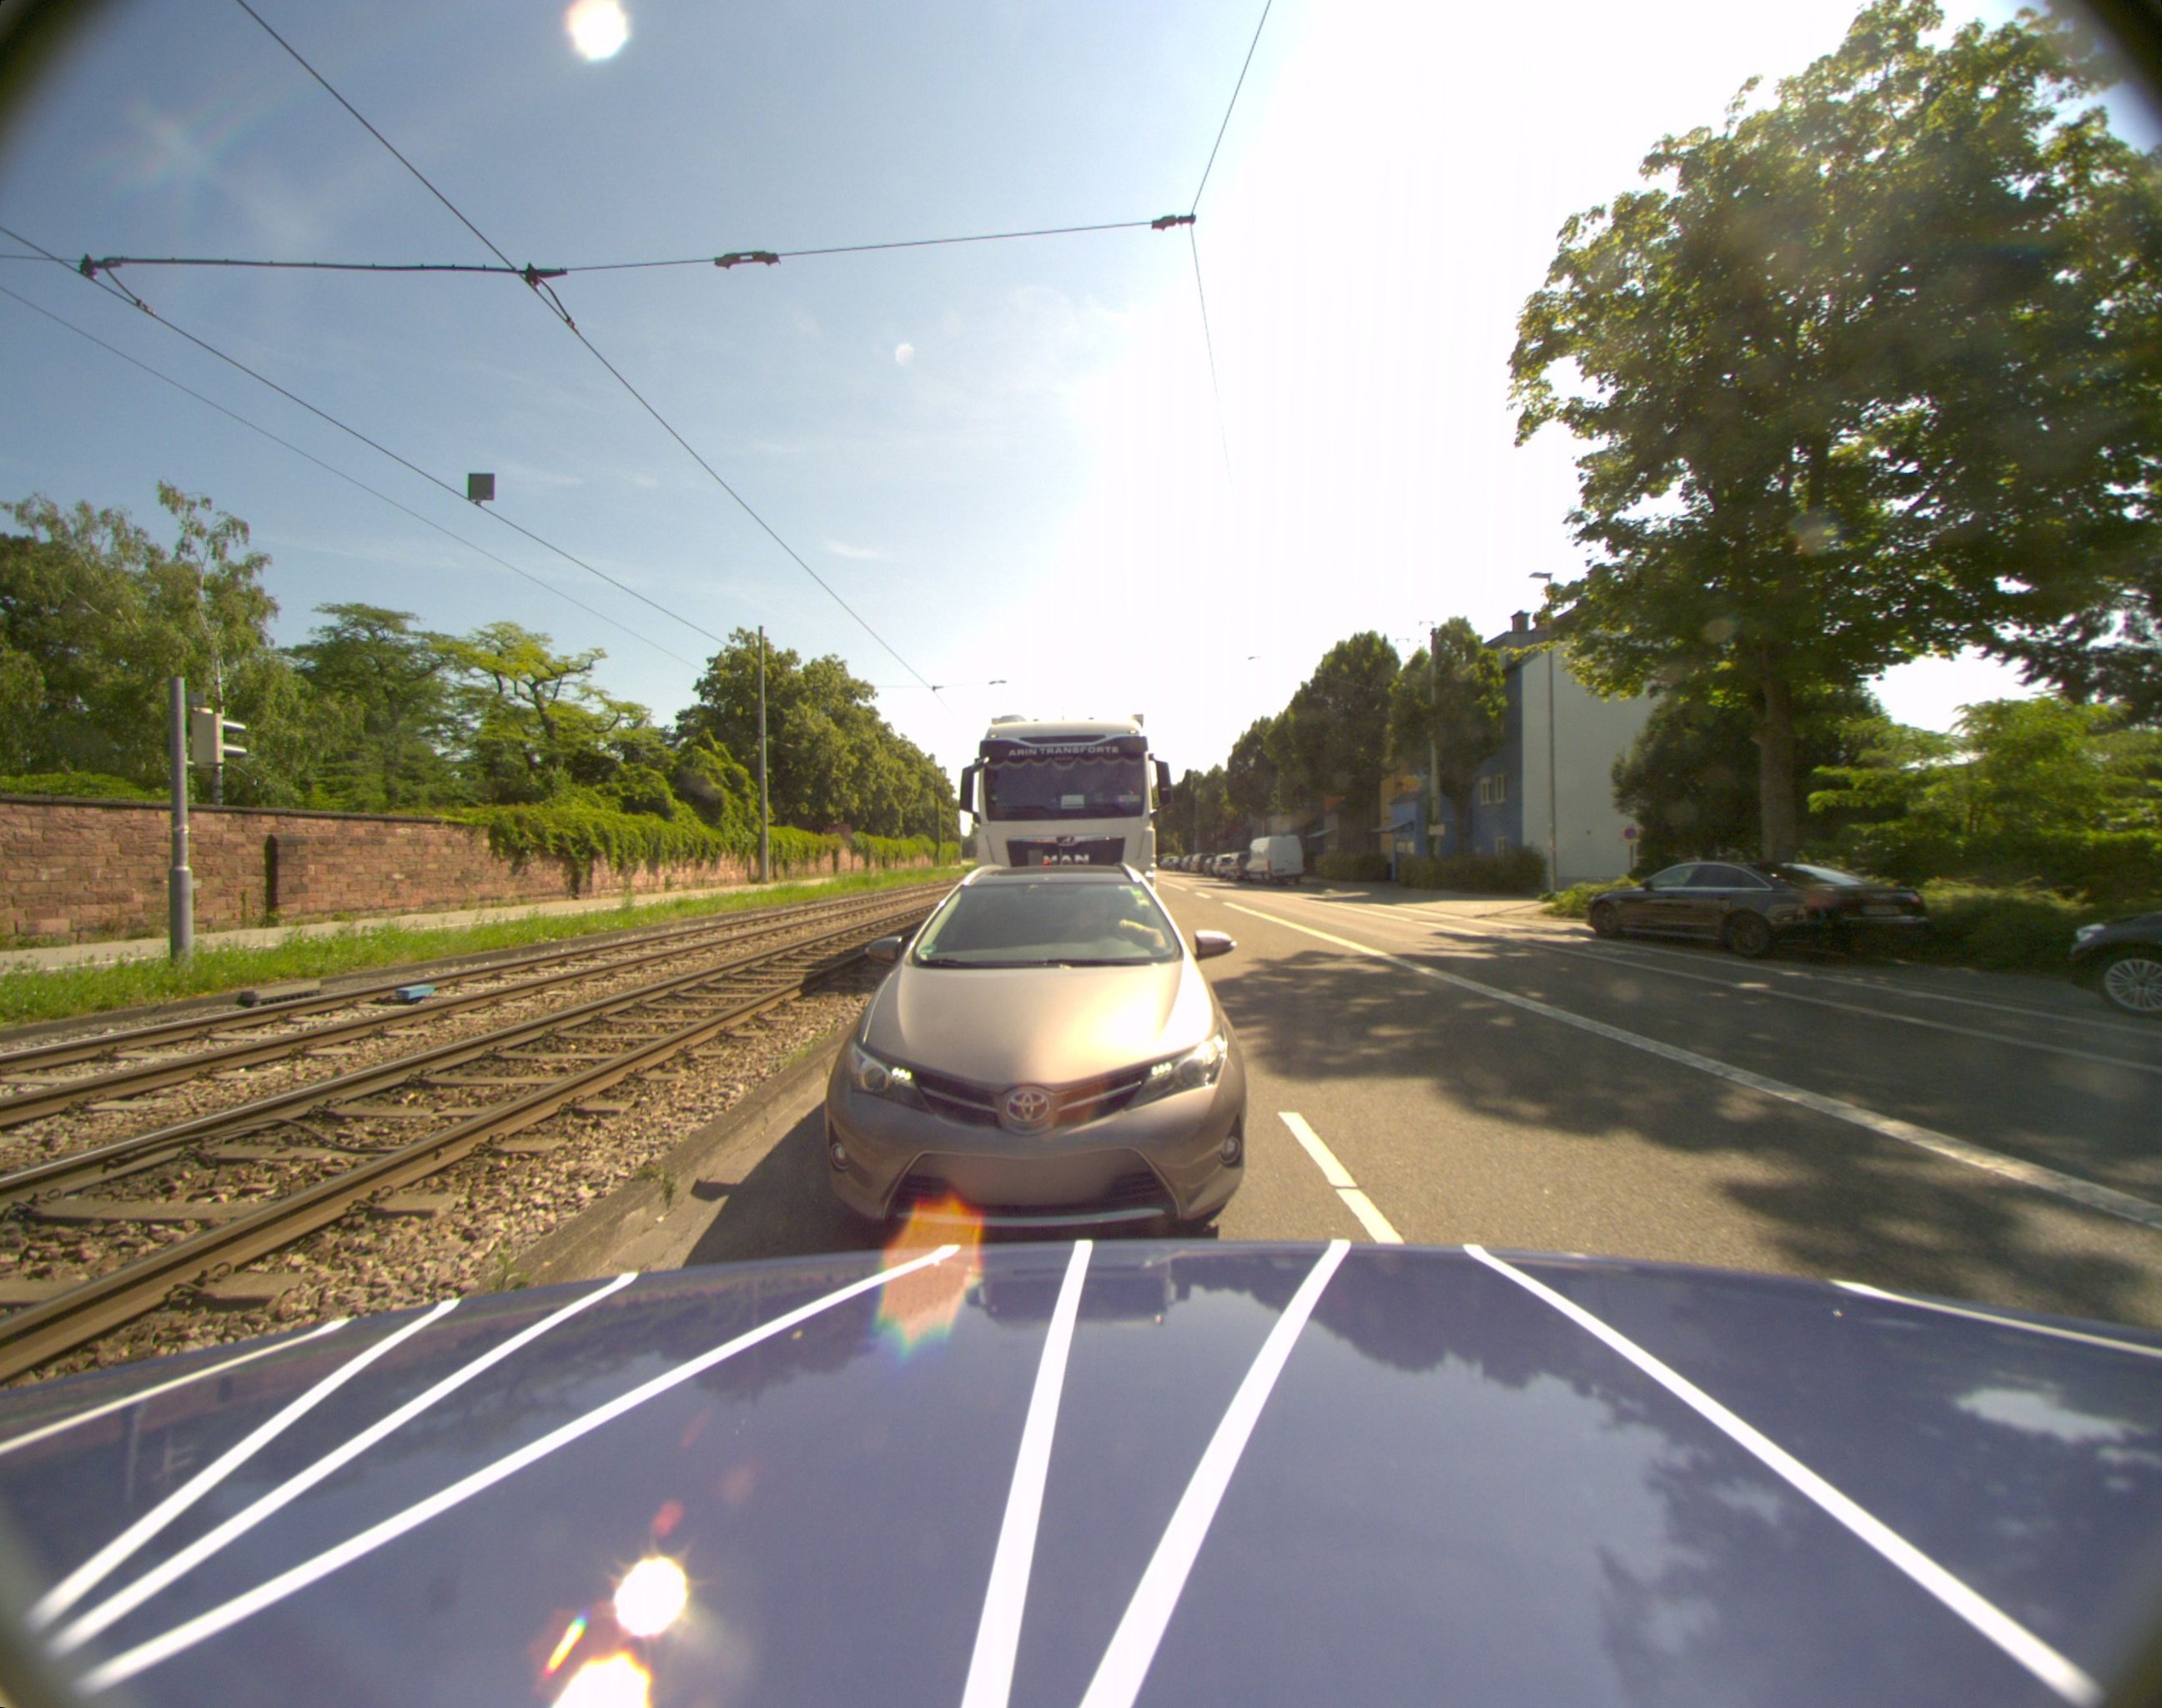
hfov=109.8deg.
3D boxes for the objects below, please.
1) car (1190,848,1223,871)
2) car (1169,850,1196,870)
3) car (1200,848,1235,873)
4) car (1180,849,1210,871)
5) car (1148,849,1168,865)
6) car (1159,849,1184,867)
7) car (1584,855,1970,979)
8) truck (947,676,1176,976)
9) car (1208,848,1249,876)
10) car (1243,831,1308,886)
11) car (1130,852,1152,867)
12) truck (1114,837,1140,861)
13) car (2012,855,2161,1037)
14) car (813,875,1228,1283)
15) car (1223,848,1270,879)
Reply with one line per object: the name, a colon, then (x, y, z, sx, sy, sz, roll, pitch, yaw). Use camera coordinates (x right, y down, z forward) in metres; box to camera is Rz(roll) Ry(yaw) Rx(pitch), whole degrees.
car: (11.109, 0.495, 67.671, 1.998, 1.795, 4.769, -6, 0, 0)
car: (10.578, 0.627, 79.165, 1.998, 1.795, 4.769, -6, 0, 0)
car: (11.228, 0.536, 62.860, 1.998, 1.795, 4.256, -6, 0, 0)
car: (10.985, 0.557, 73.375, 1.998, 1.795, 4.769, -6, 0, 0)
car: (9.783, 0.402, 96.836, 1.998, 1.795, 4.769, -6, 0, 0)
car: (10.194, 0.476, 85.908, 1.998, 1.795, 4.769, -6, 0, 0)
car: (10.563, 0.823, 12.157, 1.868, 1.562, 4.621, -1, 0, -2)
truck: (-0.151, -0.381, 17.219, 2.935, 3.856, 14.912, 0, 0, 1)
car: (11.066, 0.575, 57.377, 1.998, 1.795, 4.769, -6, 0, 0)
car: (10.915, 0.247, 43.148, 1.998, 2.678, 6.214, -6, 0, 2)
car: (8.287, 0.788, 105.567, 1.999, 1.795, 5.111, -6, 0, -4)
truck: (6.994, -0.684, 116.105, 2.704, 3.263, 6.724, -6, 0, -5)
car: (10.587, 0.824, 5.568, 1.868, 1.562, 4.621, -2, 0, 0)
car: (-0.204, 0.912, 4.884, 1.573, 1.422, 4.000, 0, 0, 1)
car: (11.144, 0.631, 51.444, 1.998, 1.795, 4.769, -6, 0, 0)
